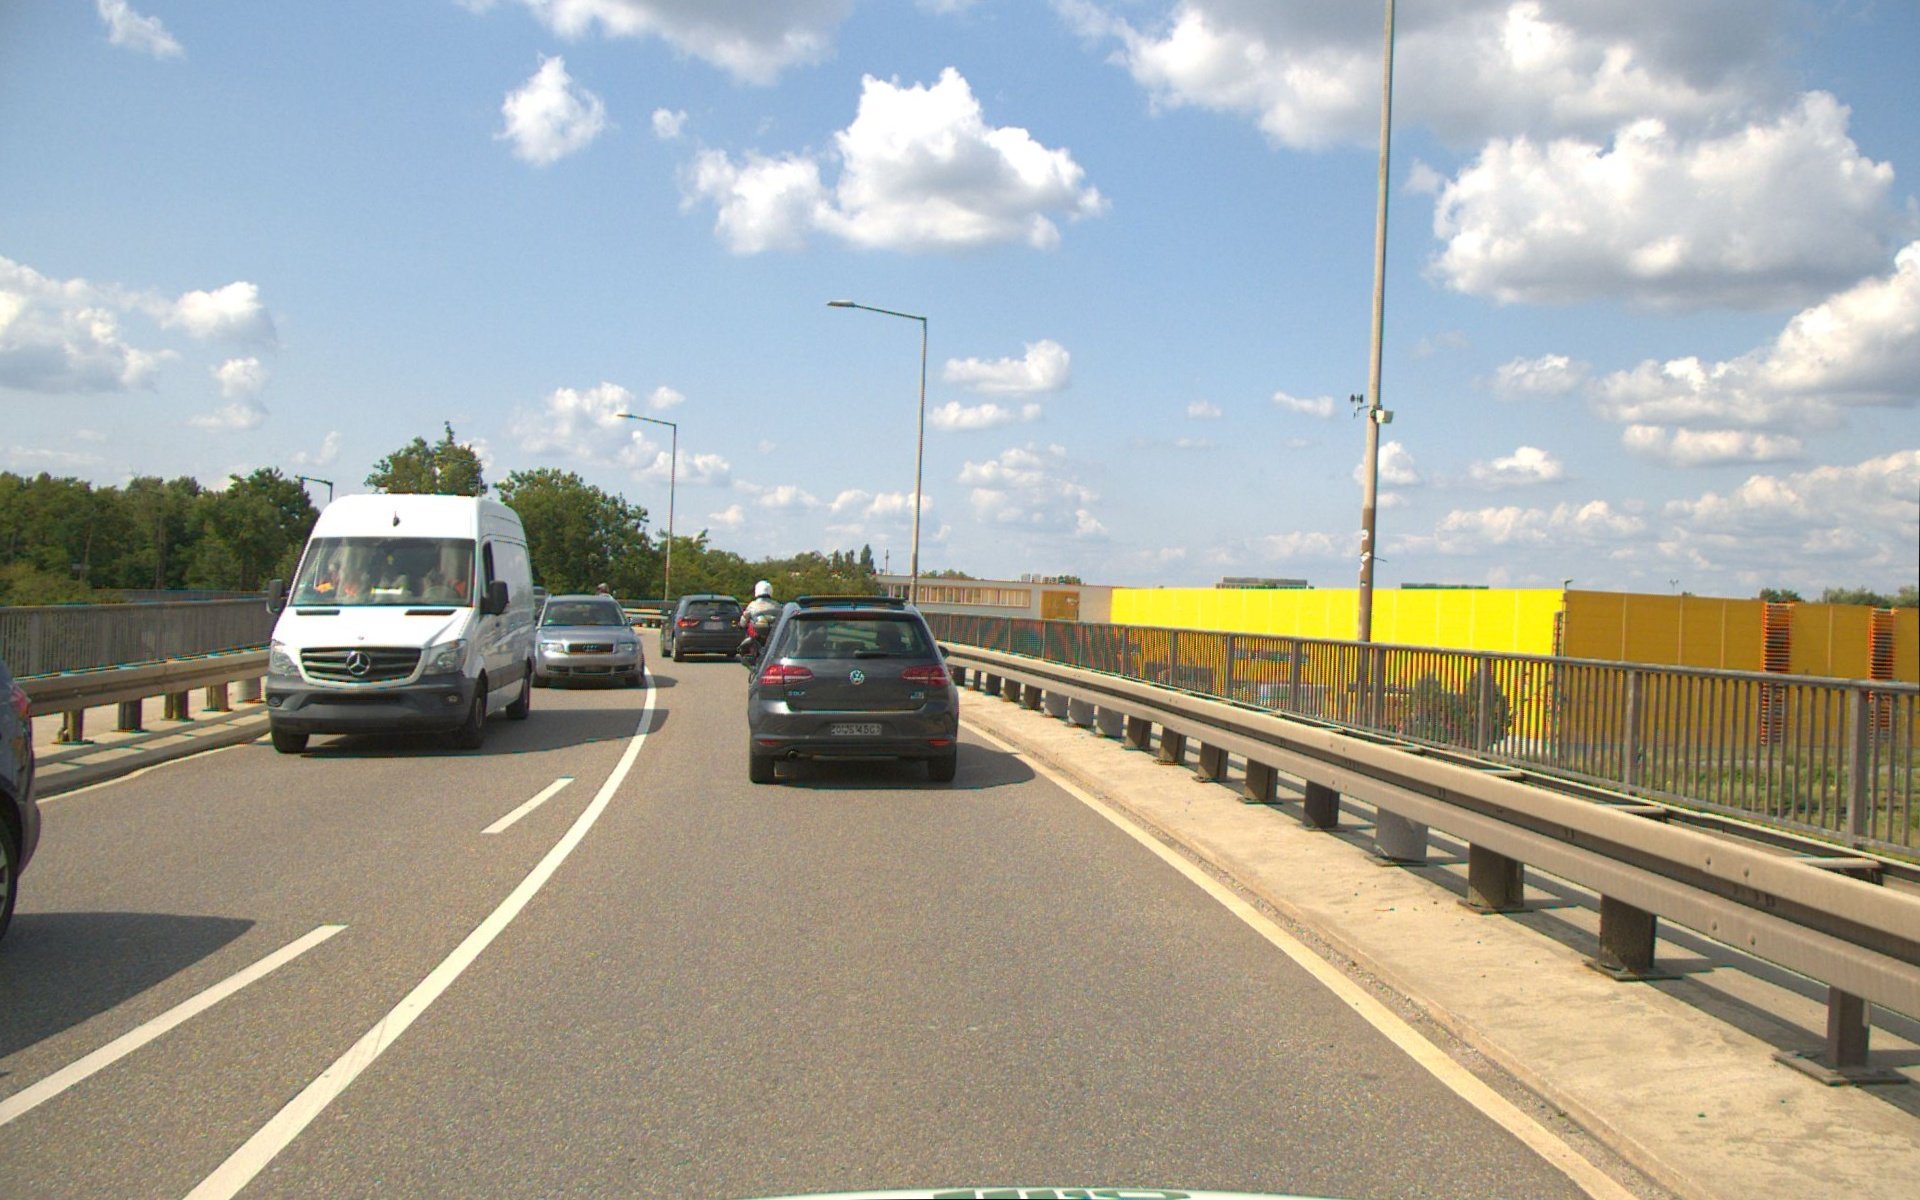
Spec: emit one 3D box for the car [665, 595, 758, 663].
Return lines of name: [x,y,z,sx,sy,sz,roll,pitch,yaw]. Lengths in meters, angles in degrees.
car: [-5.521,0.632,36.506,1.654,1.412,3.724,0,-1,-15]

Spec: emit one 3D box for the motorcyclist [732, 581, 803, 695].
motorcyclist: [-2.870,0.550,24.582,0.948,1.648,1.122,1,0,-10]

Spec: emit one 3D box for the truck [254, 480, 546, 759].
truck: [-5.884,0.146,18.183,1.956,2.551,5.937,0,0,-8]

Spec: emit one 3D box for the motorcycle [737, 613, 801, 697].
motorcycle: [-2.860,0.787,24.562,0.775,1.151,2.393,1,0,-10]

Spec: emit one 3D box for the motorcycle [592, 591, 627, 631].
motorcycle: [-11.708,0.359,55.145,0.874,1.269,2.387,1,0,-18]

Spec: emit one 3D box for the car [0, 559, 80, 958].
car: [-4.760,0.664,5.305,1.683,1.660,4.425,0,0,-3]

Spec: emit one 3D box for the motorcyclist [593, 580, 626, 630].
motorcyclist: [-11.699,0.171,55.185,0.951,1.624,1.119,1,0,-19]

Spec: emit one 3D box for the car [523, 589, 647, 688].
car: [-6.347,0.586,27.680,1.738,1.485,4.278,-1,0,-17]

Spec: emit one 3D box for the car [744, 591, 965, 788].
car: [-1.054,0.691,14.682,1.612,1.504,3.864,1,0,-9]

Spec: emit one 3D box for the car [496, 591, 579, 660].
car: [-9.251,0.523,36.000,1.605,1.368,4.234,-1,0,-16]
